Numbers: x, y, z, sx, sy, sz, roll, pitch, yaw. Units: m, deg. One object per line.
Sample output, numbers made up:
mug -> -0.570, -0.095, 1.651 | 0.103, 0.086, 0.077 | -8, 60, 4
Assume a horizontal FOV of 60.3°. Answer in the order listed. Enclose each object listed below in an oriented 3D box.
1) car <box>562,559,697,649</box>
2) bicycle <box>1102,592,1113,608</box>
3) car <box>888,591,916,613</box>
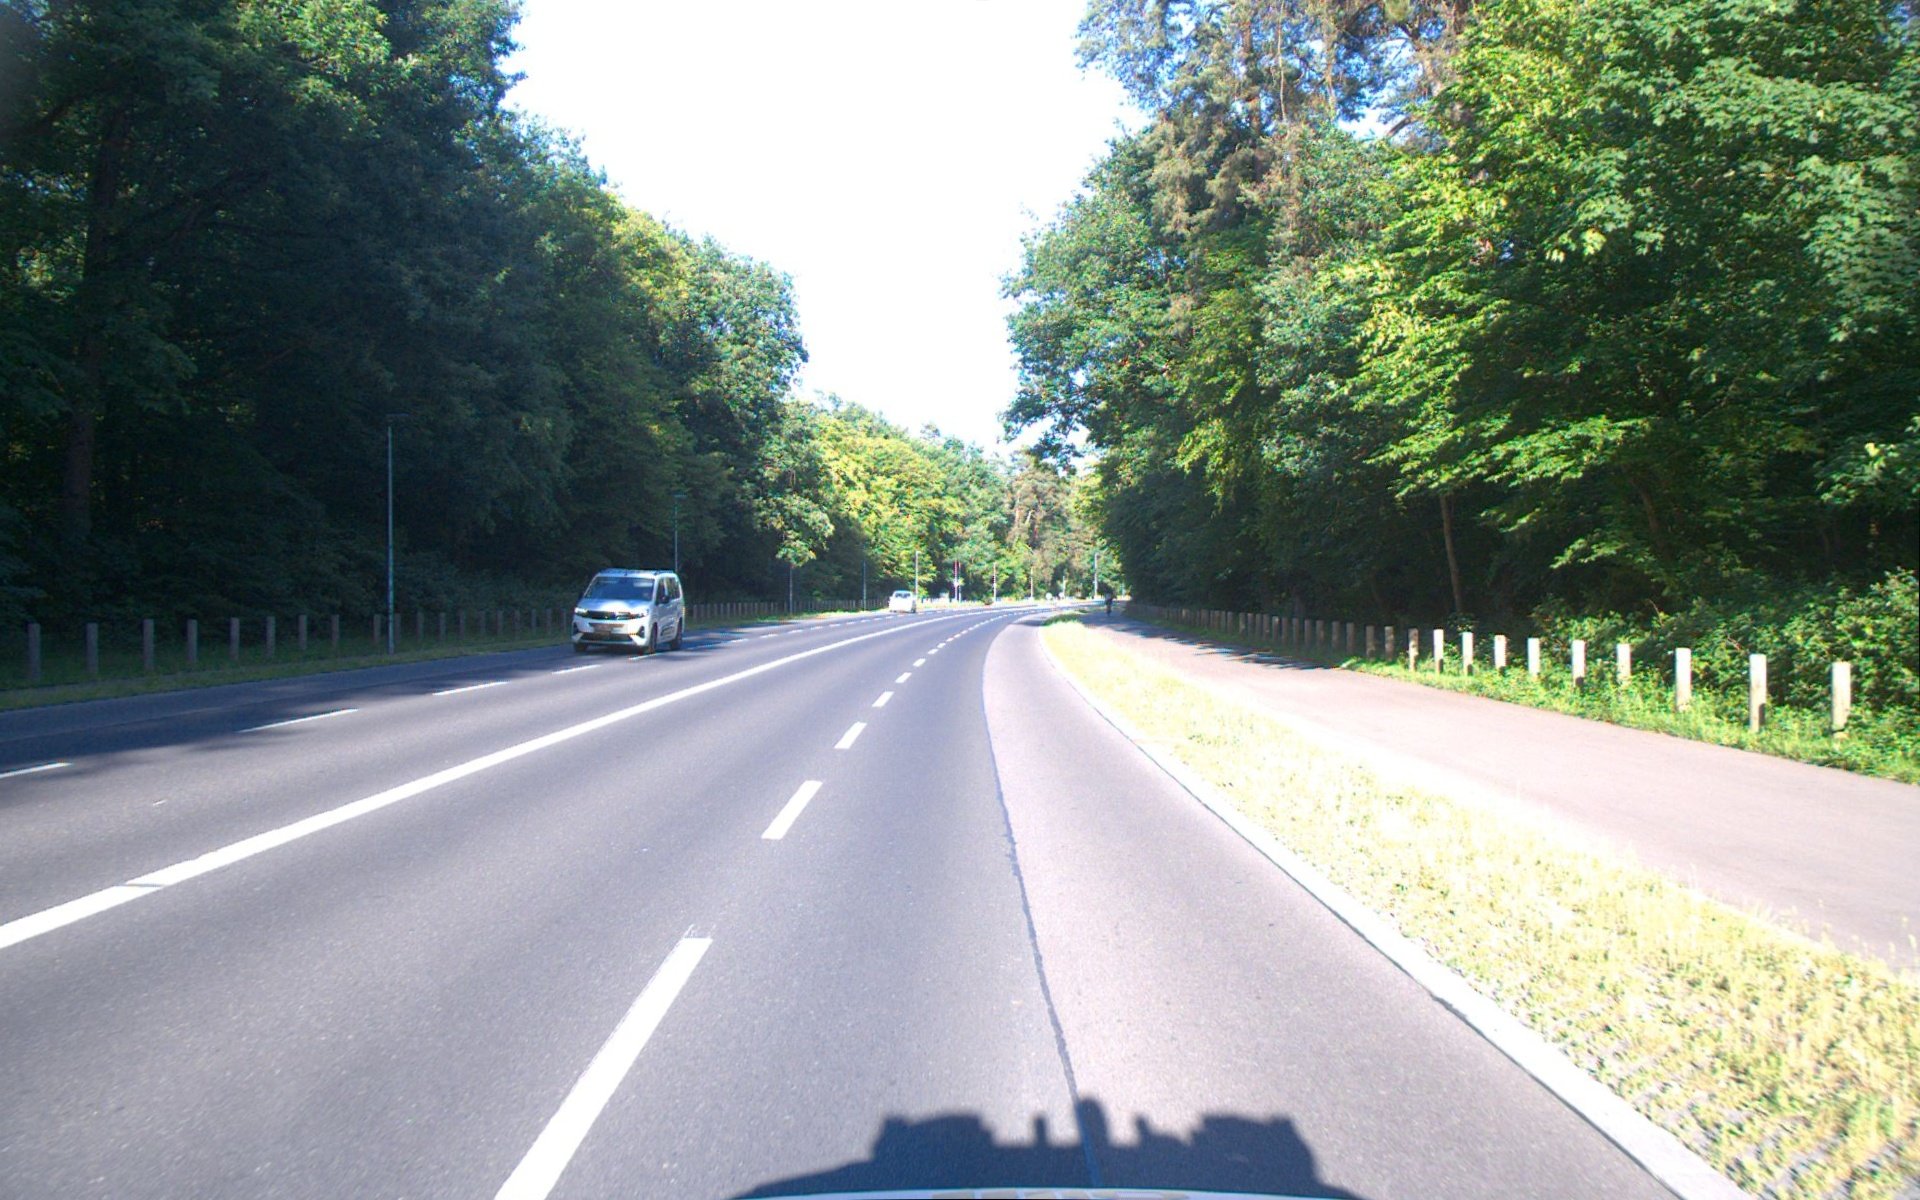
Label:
car -> -7.488, 0.085, 37.963 | 1.960, 1.858, 5.000 | 2, 0, 1
bicycle -> 10.076, -0.029, 112.907 | 0.697, 1.074, 2.054 | 0, 0, 5
car -> -4.056, 0.114, 117.105 | 1.554, 1.462, 4.310 | 2, 0, 3
